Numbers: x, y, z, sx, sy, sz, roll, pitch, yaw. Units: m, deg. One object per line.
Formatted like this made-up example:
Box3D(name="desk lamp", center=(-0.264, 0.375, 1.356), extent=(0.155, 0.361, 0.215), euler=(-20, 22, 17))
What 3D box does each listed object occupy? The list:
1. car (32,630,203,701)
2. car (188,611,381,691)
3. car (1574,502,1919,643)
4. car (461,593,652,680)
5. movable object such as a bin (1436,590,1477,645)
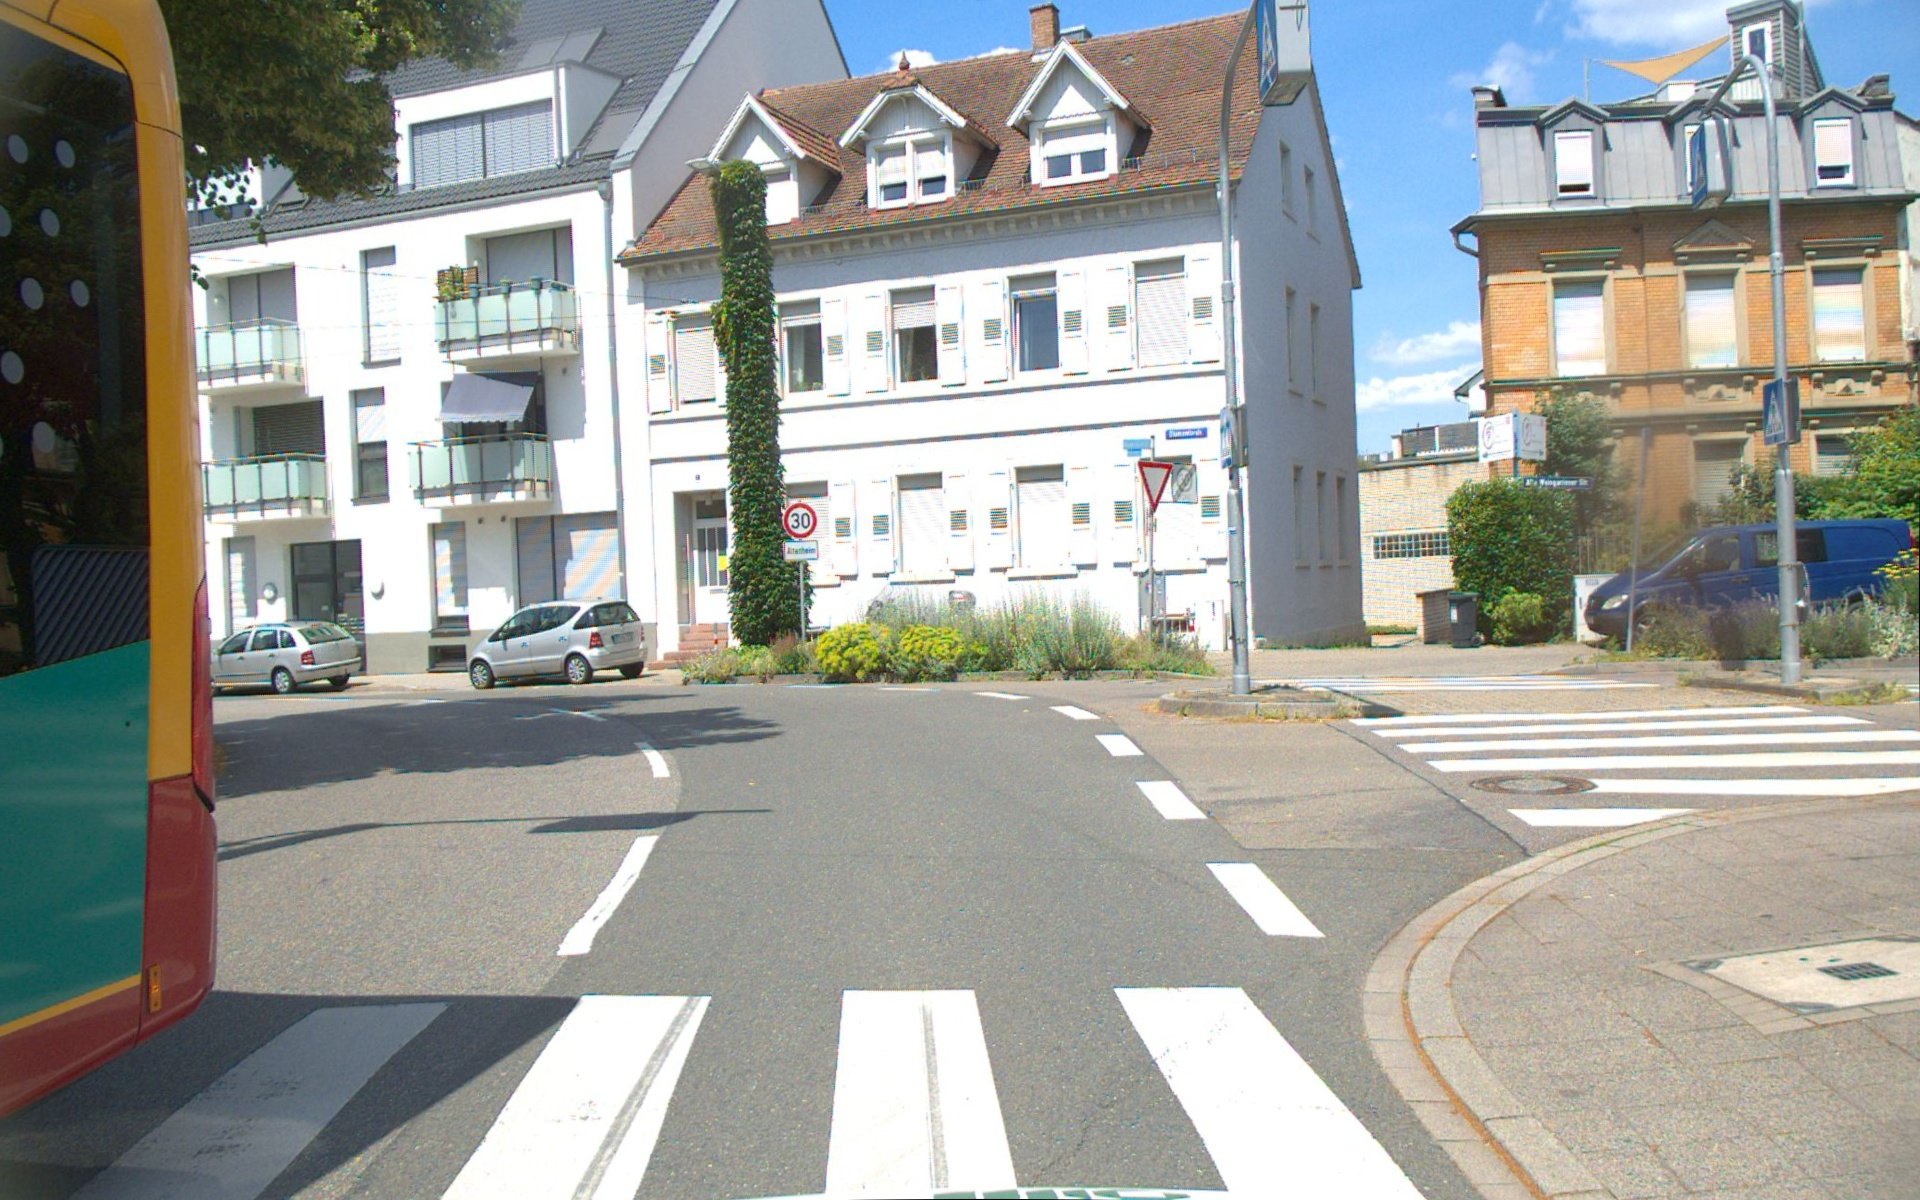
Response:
Box3D(name="car", center=(-18.974, 1.479, 37.273), extent=(3.420, 1.380, 1.423), euler=(-2, 4, 21))
Box3D(name="car", center=(-14.483, 1.091, 35.448), extent=(3.820, 1.490, 1.661), euler=(-1, 4, 27))
Box3D(name="car", center=(12.941, -0.453, 26.960), extent=(5.114, 1.981, 2.085), euler=(-3, 1, 8))
Box3D(name="car", center=(-7.892, 0.726, 32.272), extent=(3.539, 1.614, 1.581), euler=(-1, -2, 30))
Box3D(name="movable object such as a bin", center=(8.536, 0.297, 28.445), extent=(0.413, 0.932, 0.555), euler=(0, -2, -25))
